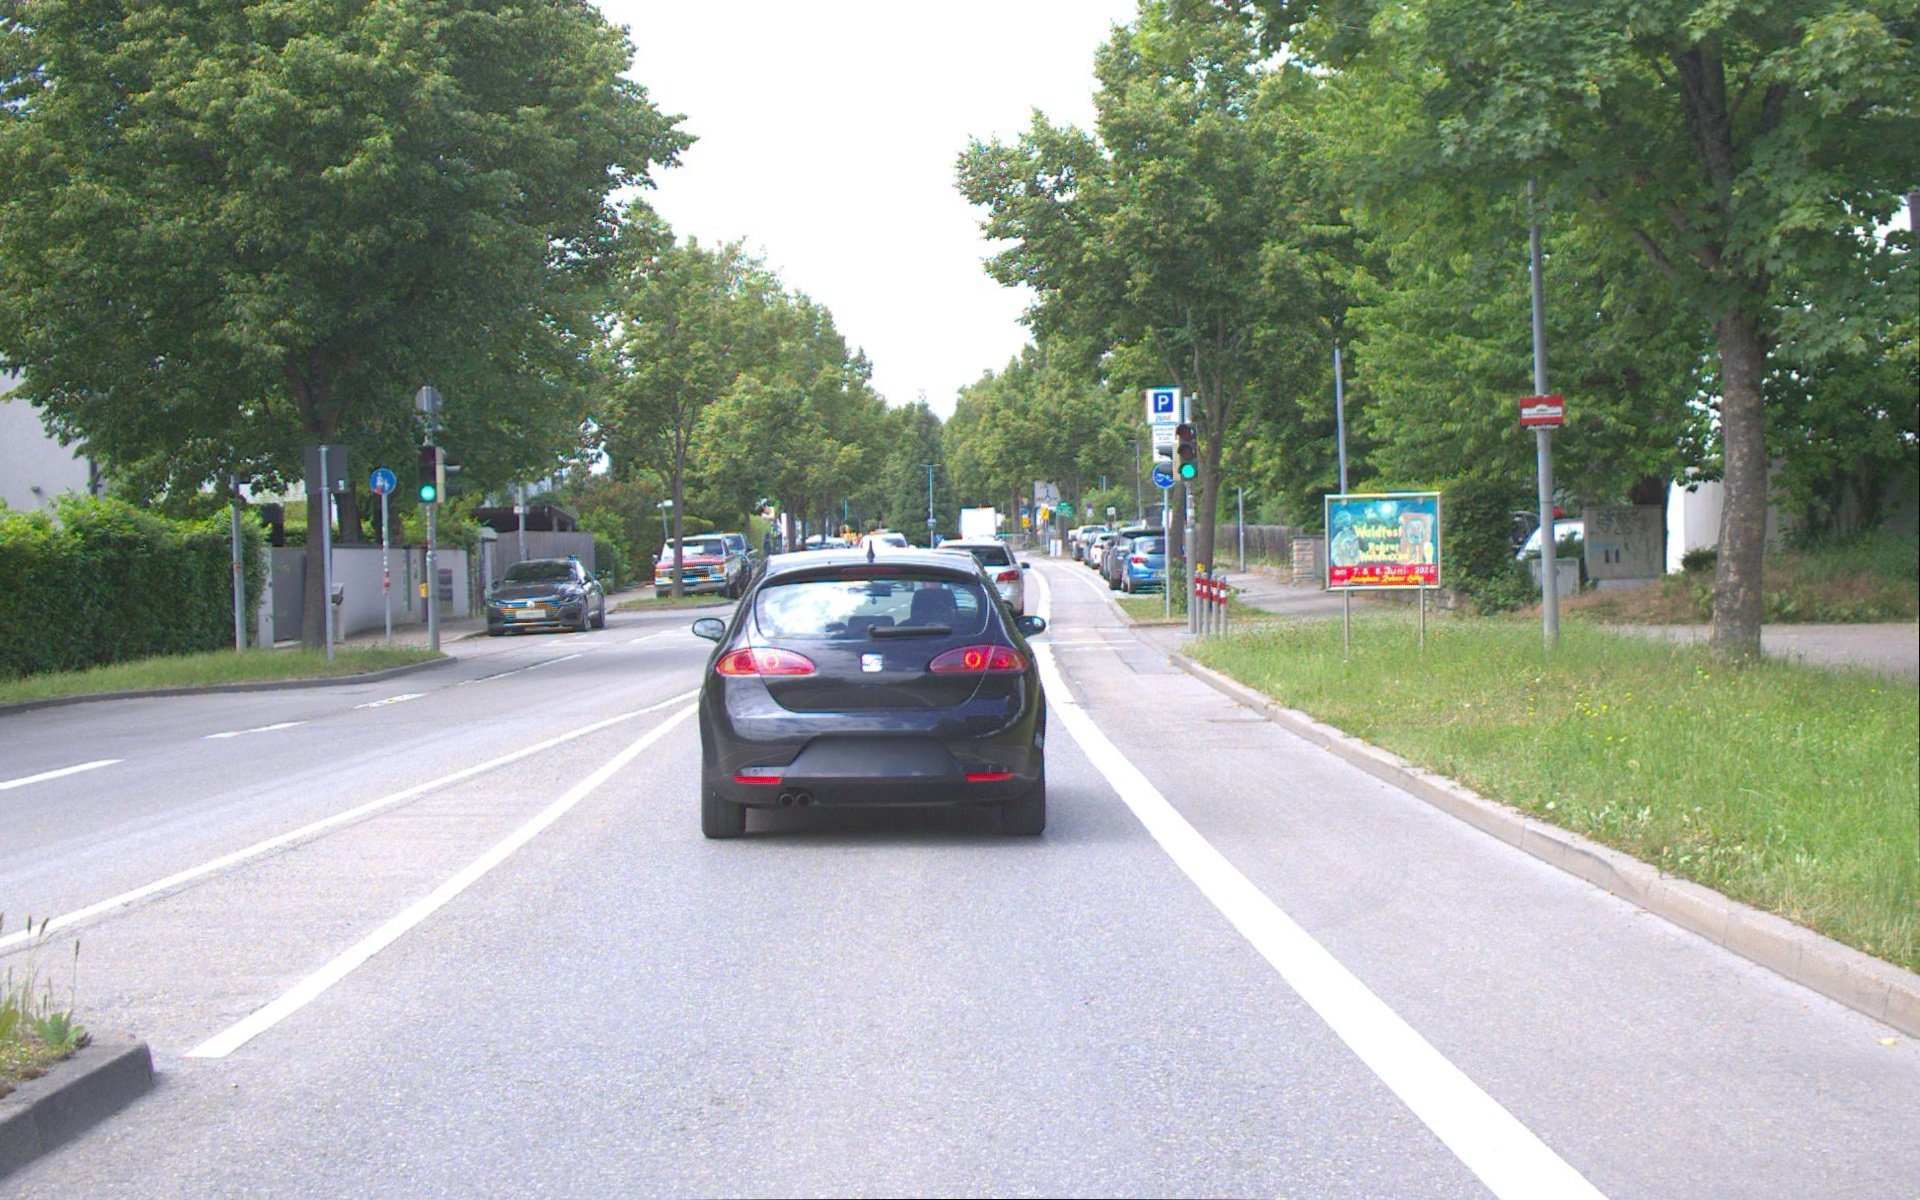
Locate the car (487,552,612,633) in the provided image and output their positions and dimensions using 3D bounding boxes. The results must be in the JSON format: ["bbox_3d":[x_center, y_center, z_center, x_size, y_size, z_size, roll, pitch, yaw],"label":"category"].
[{"bbox_3d":[-7.850,-0.173,66.149,1.718,1.390,4.801,-3,1,1],"label":"car"}]

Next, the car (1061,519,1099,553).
[{"bbox_3d":[5.661,-3.040,162.906,1.688,1.559,4.214,-1,1,1],"label":"car"}]

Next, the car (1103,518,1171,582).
[{"bbox_3d":[4.872,-1.388,95.215,1.688,1.706,4.214,-1,1,1],"label":"car"}]

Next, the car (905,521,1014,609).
[{"bbox_3d":[0.024,-0.635,61.351,1.846,1.504,3.812,0,1,1],"label":"car"}]

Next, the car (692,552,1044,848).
[{"bbox_3d":[-0.459,0.455,18.282,1.663,1.396,3.812,0,1,-1],"label":"car"}]

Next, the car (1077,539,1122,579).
[{"bbox_3d":[5.603,-1.644,138.428,1.688,1.559,4.214,-1,1,1],"label":"car"}]

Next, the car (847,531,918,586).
[{"bbox_3d":[-2.449,-1.339,109.136,1.875,1.629,4.340,-3,1,3],"label":"car"}]

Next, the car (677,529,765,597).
[{"bbox_3d":[-7.137,-1.121,103.221,2.100,1.890,5.784,-3,1,1],"label":"car"}]

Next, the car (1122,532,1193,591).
[{"bbox_3d":[5.156,-1.015,89.945,1.688,1.485,3.355,-1,1,1],"label":"car"}]

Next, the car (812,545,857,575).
[{"bbox_3d":[-6.752,-2.189,185.828,2.100,1.501,5.784,-3,1,1],"label":"car"}]

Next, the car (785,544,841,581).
[{"bbox_3d":[-6.531,-1.672,152.996,2.100,1.501,5.784,-3,1,1],"label":"car"}]

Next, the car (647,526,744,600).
[{"bbox_3d":[-7.322,-1.055,95.662,2.100,1.890,5.784,-3,1,1],"label":"car"}]

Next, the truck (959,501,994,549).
[{"bbox_3d":[1.092,-5.066,233.738,2.279,3.093,8.511,1,1,0],"label":"truck"}]
